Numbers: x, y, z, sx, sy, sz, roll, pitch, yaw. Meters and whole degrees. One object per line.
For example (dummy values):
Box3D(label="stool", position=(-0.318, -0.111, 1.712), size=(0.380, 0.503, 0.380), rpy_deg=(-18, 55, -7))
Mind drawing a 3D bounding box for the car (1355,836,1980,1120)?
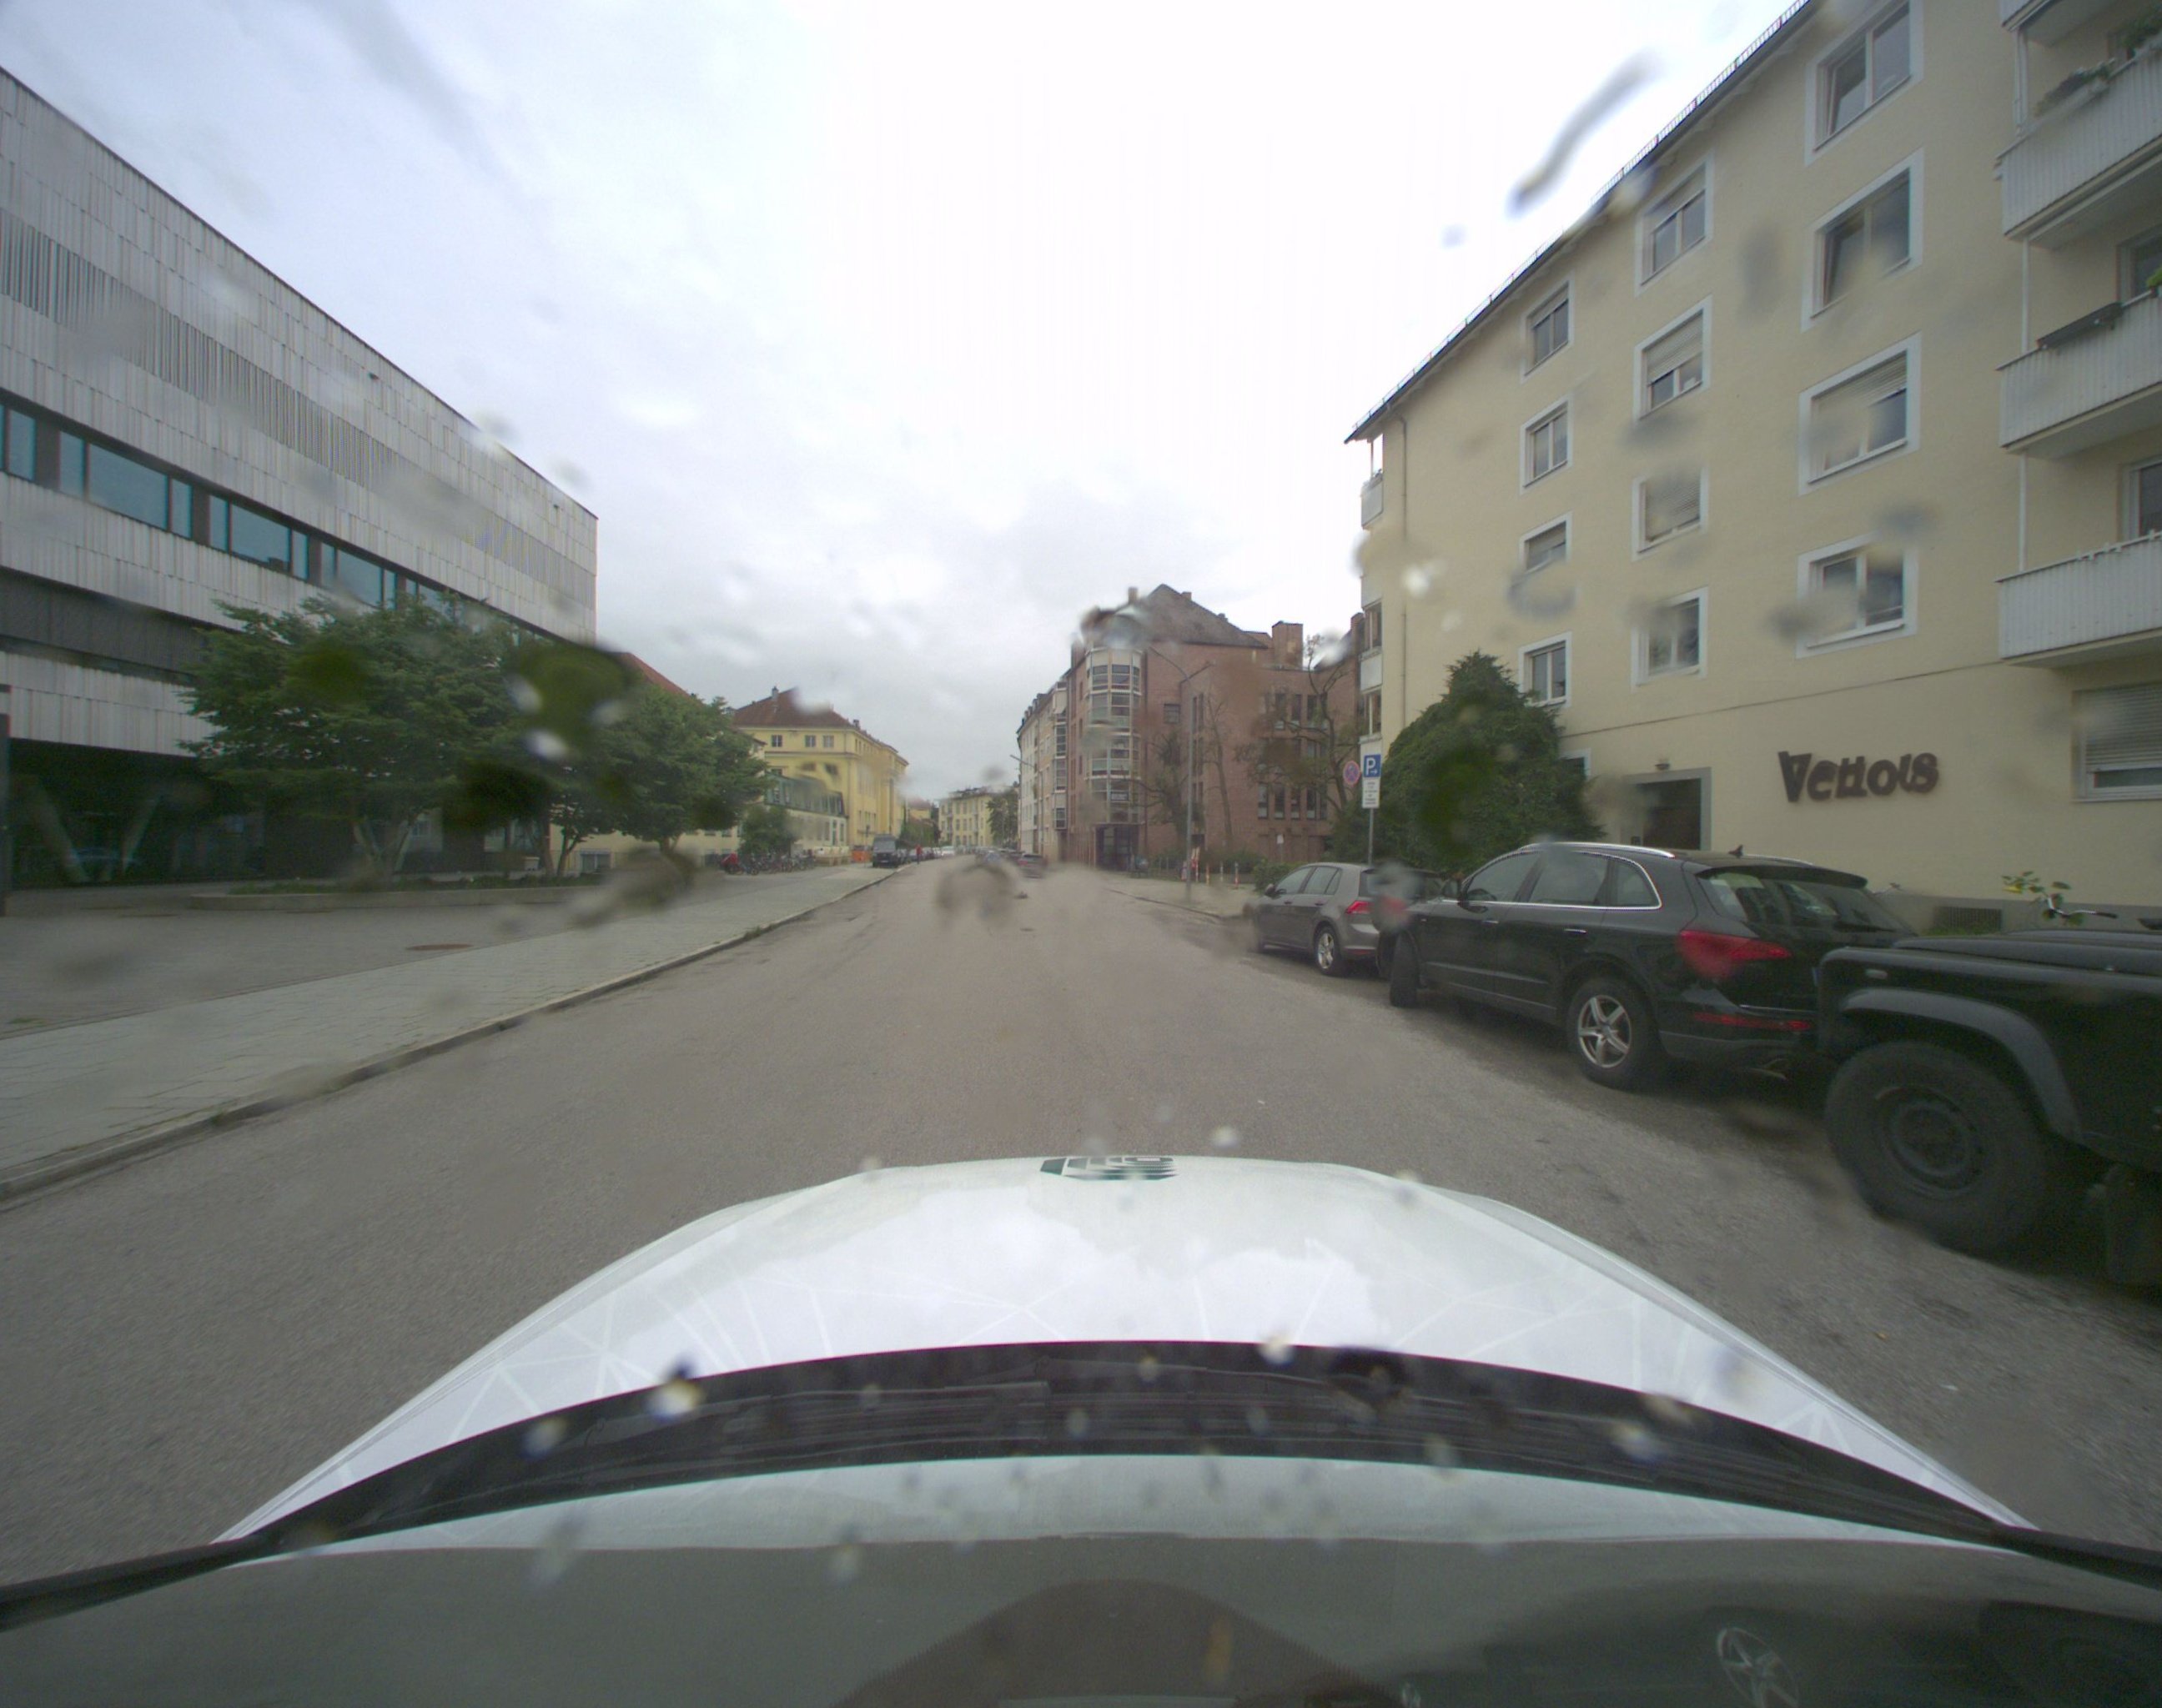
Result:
Box3D(label="car", position=(4.111, 0.701, 6.842), size=(1.656, 1.565, 4.505), rpy_deg=(2, 0, -6))

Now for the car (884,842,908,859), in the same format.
Box3D(label="car", position=(-16.902, -0.319, 74.466), size=(1.698, 1.453, 3.732), rpy_deg=(2, 1, -8))

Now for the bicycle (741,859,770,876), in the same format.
Box3D(label="bicycle", position=(-18.025, 0.730, 45.143), size=(1.369, 0.862, 0.439), rpy_deg=(2, 1, -4))

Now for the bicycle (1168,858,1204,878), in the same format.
Box3D(label="bicycle", position=(5.331, 0.697, 41.482), size=(1.700, 0.965, 0.544), rpy_deg=(2, 1, -10))

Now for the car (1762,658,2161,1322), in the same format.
Box3D(label="car", position=(4.320, 0.469, 1.733), size=(1.744, 2.081, 4.511), rpy_deg=(2, 1, -3))

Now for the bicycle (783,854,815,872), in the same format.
Box3D(label="bicycle", position=(-19.177, 0.582, 55.463), size=(1.950, 1.131, 0.573), rpy_deg=(2, 1, 0))

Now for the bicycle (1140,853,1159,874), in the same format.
Box3D(label="bicycle", position=(3.983, 0.559, 47.216), size=(0.416, 1.173, 1.370), rpy_deg=(3, 1, 35))

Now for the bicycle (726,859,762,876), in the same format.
Box3D(label="bicycle", position=(-18.231, 0.741, 44.053), size=(1.715, 0.862, 0.439), rpy_deg=(2, 1, -4))

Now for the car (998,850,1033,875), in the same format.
Box3D(label="car", position=(-4.785, 0.594, 58.692), size=(1.832, 1.601, 4.247), rpy_deg=(2, 1, -13))

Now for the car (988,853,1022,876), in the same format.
Box3D(label="car", position=(-5.974, 0.785, 63.509), size=(1.967, 1.601, 4.650), rpy_deg=(2, 1, -13))

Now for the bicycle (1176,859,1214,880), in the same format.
Box3D(label="bicycle", position=(5.603, 0.769, 40.039), size=(1.700, 0.965, 0.544), rpy_deg=(2, 1, -10))

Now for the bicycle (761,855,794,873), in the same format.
Box3D(label="bicycle", position=(-18.579, 0.615, 49.870), size=(1.785, 1.033, 0.507), rpy_deg=(2, 1, 0))

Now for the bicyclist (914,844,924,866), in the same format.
Box3D(label="bicyclist", position=(-15.477, 0.073, 77.750), size=(0.765, 2.013, 0.766), rpy_deg=(-3, 1, -5))

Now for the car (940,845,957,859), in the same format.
Box3D(label="car", position=(-16.834, -0.249, 103.362), size=(2.025, 1.621, 4.491), rpy_deg=(-2, -1, -9))

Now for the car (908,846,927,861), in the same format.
Box3D(label="car", position=(-18.677, -0.026, 92.948), size=(1.771, 1.550, 3.769), rpy_deg=(2, 1, -7))

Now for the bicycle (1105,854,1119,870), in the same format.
Box3D(label="bicycle", position=(2.153, 0.531, 56.281), size=(0.486, 1.060, 1.987), rpy_deg=(2, 0, -12))

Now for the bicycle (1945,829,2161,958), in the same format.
Box3D(label="bicycle", position=(9.532, 0.330, 7.756), size=(0.466, 1.117, 1.942), rpy_deg=(-1, 1, -3))

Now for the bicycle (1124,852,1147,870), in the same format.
Box3D(label="bicycle", position=(3.692, 0.462, 55.254), size=(1.474, 1.147, 0.382), rpy_deg=(2, 1, -5))

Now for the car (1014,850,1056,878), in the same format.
Box3D(label="car", position=(-2.764, 0.563, 48.247), size=(1.925, 1.512, 4.377), rpy_deg=(2, 0, -10))

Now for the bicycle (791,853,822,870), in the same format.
Box3D(label="bicycle", position=(-19.273, 0.519, 57.096), size=(1.898, 1.092, 0.677), rpy_deg=(2, 1, 0))

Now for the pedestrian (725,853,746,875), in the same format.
Box3D(label="pedestrian", position=(-18.982, 0.544, 44.755), size=(0.717, 1.163, 1.039), rpy_deg=(3, 1, -5))

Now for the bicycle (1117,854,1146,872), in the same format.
Box3D(label="bicycle", position=(3.384, 0.620, 54.746), size=(1.845, 1.147, 0.487), rpy_deg=(2, 1, -5))

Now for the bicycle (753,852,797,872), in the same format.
Box3D(label="bicycle", position=(-19.031, 0.502, 50.611), size=(2.545, 1.206, 0.424), rpy_deg=(0, 1, 0))

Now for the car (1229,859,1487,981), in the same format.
Box3D(label="car", position=(3.642, 0.798, 11.565), size=(1.754, 1.396, 4.031), rpy_deg=(2, -1, -10))

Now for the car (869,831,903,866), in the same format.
Box3D(label="car", position=(-15.871, -0.390, 66.607), size=(2.423, 2.715, 5.930), rpy_deg=(-1, 0, -11))

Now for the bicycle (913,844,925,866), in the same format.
Box3D(label="bicycle", position=(-15.459, 0.061, 77.704), size=(0.746, 2.013, 2.844), rpy_deg=(-2, 1, -4))

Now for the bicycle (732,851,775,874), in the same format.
Box3D(label="bicycle", position=(-18.787, 0.482, 46.676), size=(2.098, 1.227, 0.787), rpy_deg=(2, 1, 0))

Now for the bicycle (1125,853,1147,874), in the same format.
Box3D(label="bicycle", position=(3.306, 0.565, 48.913), size=(0.535, 1.248, 2.400), rpy_deg=(2, -1, -15))

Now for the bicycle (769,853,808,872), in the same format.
Box3D(label="bicycle", position=(-18.967, 0.575, 52.842), size=(2.303, 1.135, 0.581), rpy_deg=(2, 1, 0))

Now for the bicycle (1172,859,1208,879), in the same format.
Box3D(label="bicycle", position=(5.457, 0.755, 40.824), size=(1.700, 0.965, 0.544), rpy_deg=(2, 1, -10))

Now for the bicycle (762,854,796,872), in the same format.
Box3D(label="bicycle", position=(-19.040, 0.560, 51.377), size=(1.860, 1.029, 0.540), rpy_deg=(2, 1, 0))

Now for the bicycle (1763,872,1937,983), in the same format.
Box3D(label="bicycle", position=(9.035, 0.803, 9.681), size=(0.464, 1.117, 1.948), rpy_deg=(-1, 1, 8))

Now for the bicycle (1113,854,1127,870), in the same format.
Box3D(label="bicycle", position=(2.690, 0.568, 56.387), size=(0.486, 1.060, 1.987), rpy_deg=(2, 0, -12))

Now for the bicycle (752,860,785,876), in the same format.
Box3D(label="bicycle", position=(-18.573, 0.826, 48.407), size=(1.669, 0.916, 0.595), rpy_deg=(2, 1, 0))
